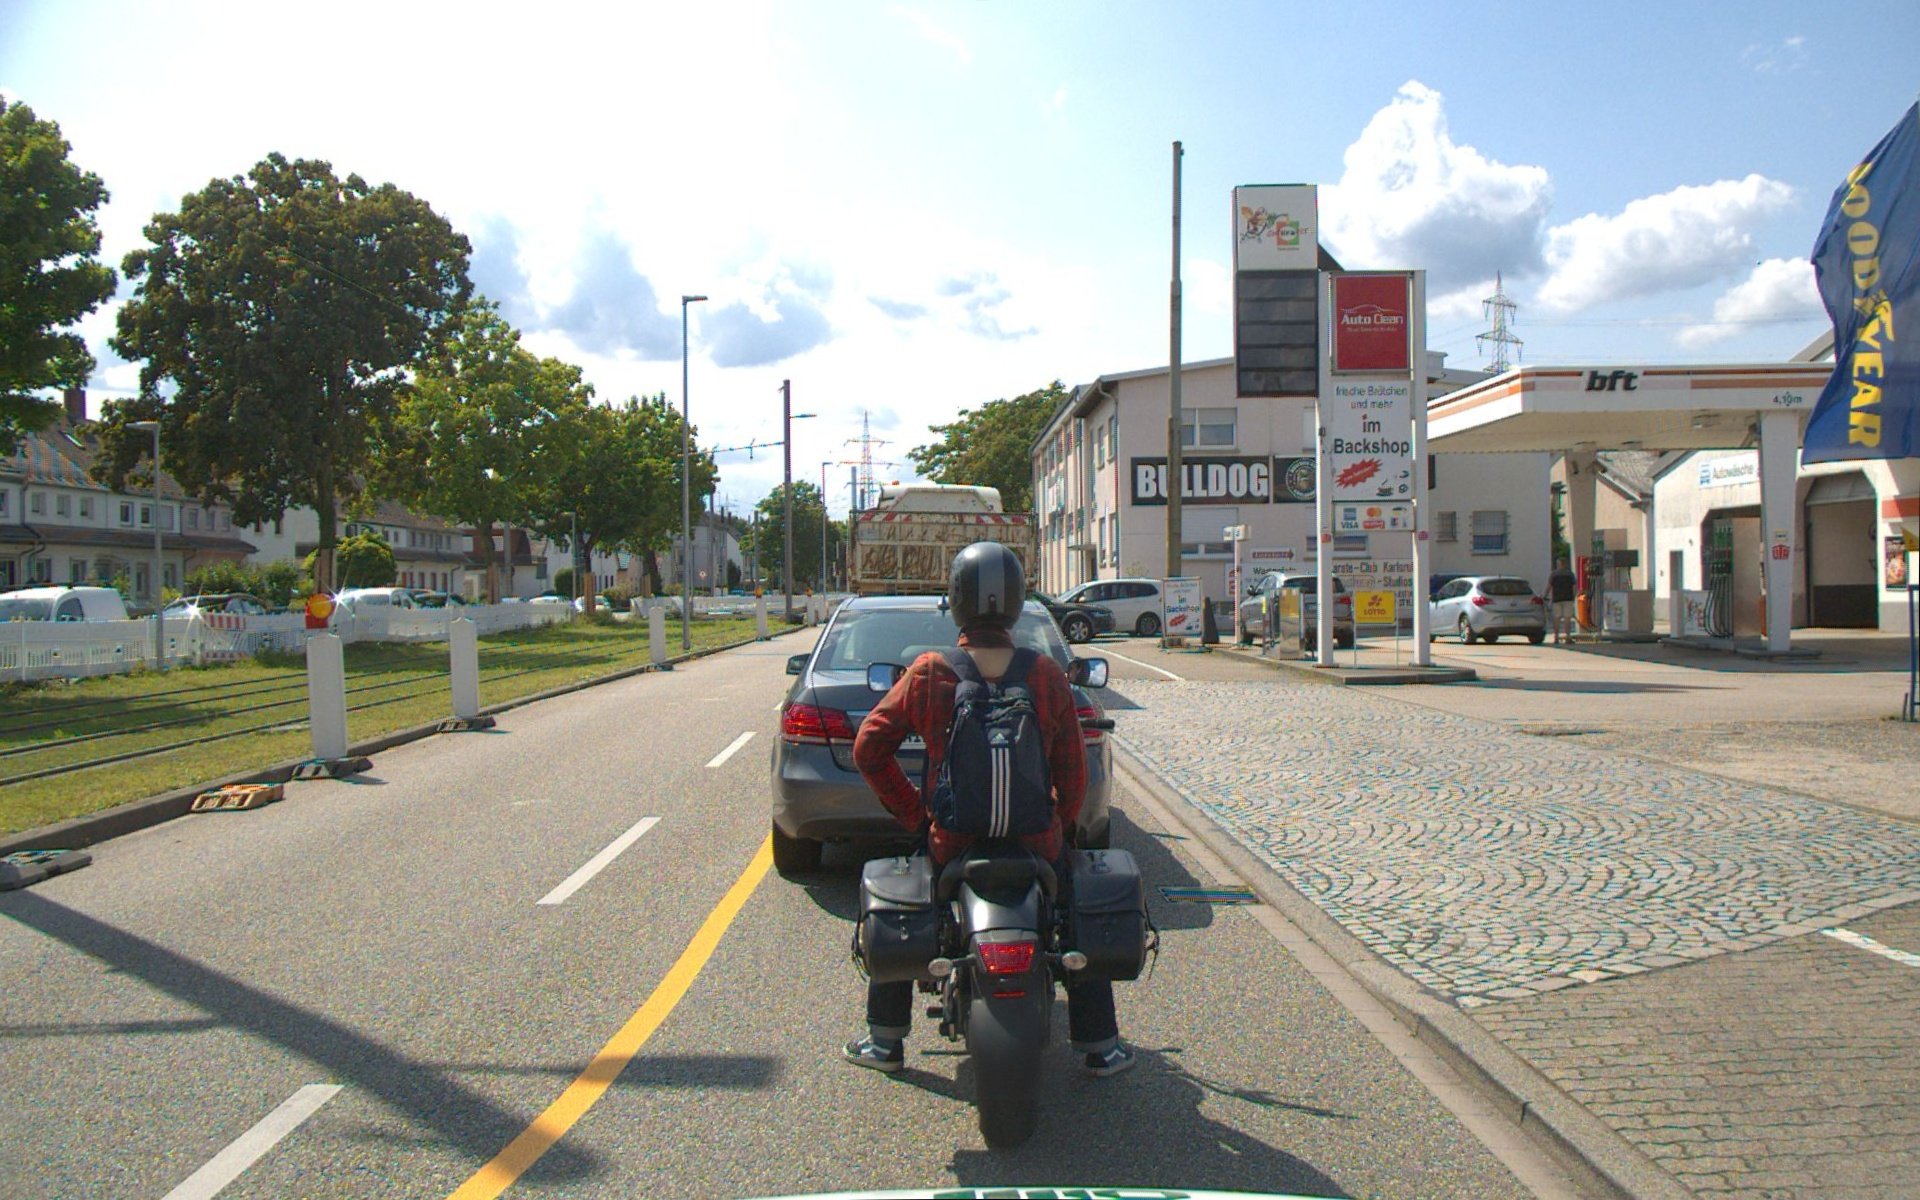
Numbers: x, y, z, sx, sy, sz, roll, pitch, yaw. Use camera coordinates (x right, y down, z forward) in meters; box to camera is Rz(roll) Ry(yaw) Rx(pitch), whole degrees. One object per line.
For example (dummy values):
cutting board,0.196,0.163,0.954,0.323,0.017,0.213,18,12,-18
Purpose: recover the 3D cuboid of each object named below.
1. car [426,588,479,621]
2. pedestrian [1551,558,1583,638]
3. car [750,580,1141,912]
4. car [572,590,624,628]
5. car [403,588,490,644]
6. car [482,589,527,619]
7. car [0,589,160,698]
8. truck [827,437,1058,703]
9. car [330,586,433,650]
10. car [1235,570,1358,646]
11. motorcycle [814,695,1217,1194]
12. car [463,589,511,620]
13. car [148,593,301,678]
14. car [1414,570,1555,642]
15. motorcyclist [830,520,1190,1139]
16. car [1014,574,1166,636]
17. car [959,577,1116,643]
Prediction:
car,-28.177,0.246,91.933,1.664,1.770,4.061,-1,0,-1
pedestrian,13.135,-0.045,35.787,0.621,1.712,0.622,-1,0,20
car,-0.125,0.661,9.724,1.795,1.505,4.008,-1,0,-2
car,-17.358,0.407,79.396,1.664,1.770,3.860,-1,0,-1
car,-17.018,0.497,54.978,1.664,1.770,3.860,-1,0,-1
car,-28.659,0.232,104.145,1.664,1.770,4.061,-1,0,-1
car,-16.418,0.742,30.291,1.664,1.849,3.860,-1,0,-1
truck,-0.356,-0.422,25.465,2.910,3.362,8.404,-1,0,-2
car,-16.953,0.494,48.612,1.664,1.770,3.860,-1,0,-1
car,7.402,0.144,36.750,1.795,1.562,4.008,-1,0,-2
motorcycle,0.116,0.899,5.190,0.956,1.031,2.431,1,0,-1
car,-28.057,0.261,98.143,1.664,1.770,4.061,-1,0,-1
car,-16.672,0.757,37.715,1.664,1.770,4.053,-1,0,-1
car,11.773,0.104,37.415,1.795,1.505,4.008,-1,0,-2
motorcyclist,0.127,0.616,5.072,0.950,1.662,1.214,1,0,-1
car,3.671,0.120,47.080,4.029,1.652,1.682,-1,0,-9
car,2.038,0.253,43.575,4.019,1.652,1.686,-1,0,3
